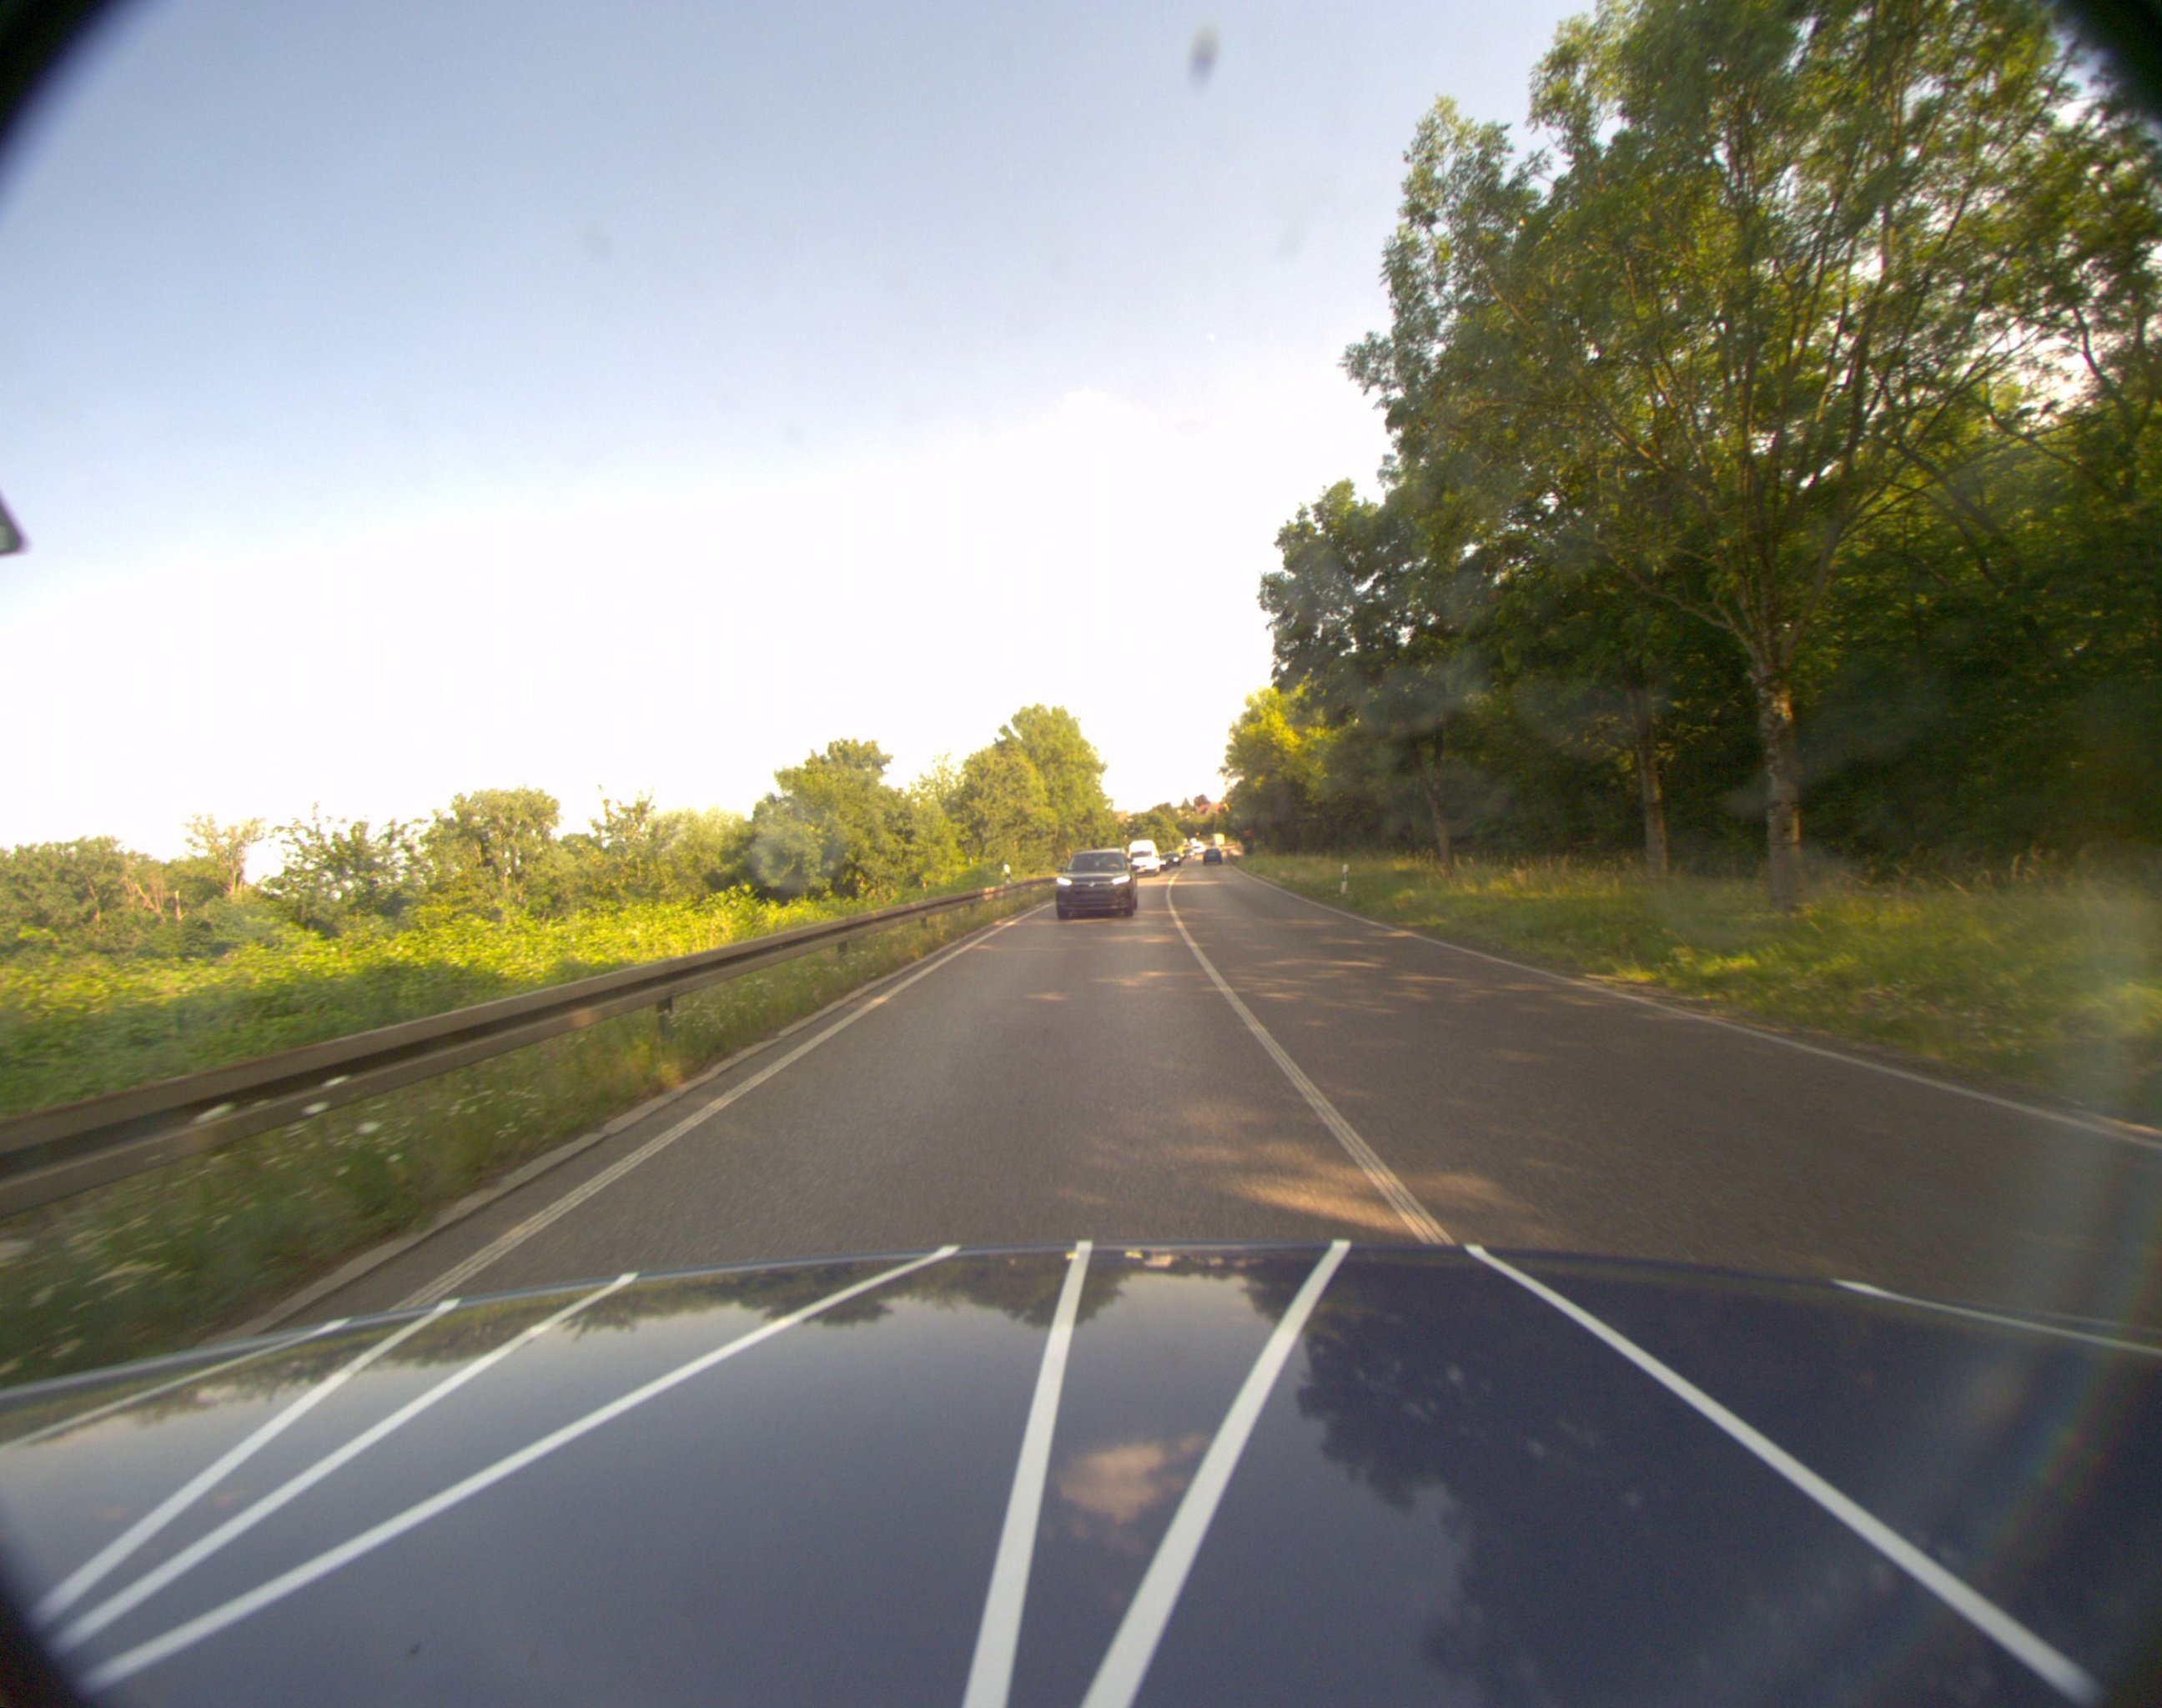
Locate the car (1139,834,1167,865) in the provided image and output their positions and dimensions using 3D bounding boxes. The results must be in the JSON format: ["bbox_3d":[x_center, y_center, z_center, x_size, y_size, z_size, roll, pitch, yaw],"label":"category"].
[{"bbox_3d":[5.927,-0.384,62.941,2.088,2.403,5.143,-2,1,4],"label":"car"}]

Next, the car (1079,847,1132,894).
[{"bbox_3d":[1.026,0.624,31.113,1.922,1.718,4.702,-2,0,3],"label":"car"}]

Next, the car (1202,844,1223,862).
[{"bbox_3d":[12.999,-0.148,75.199,1.900,1.622,4.253,-2,1,9],"label":"car"}]

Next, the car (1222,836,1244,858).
[{"bbox_3d":[17.299,-0.824,86.583,2.087,2.403,5.145,-2,1,8],"label":"car"}]

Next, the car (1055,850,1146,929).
[{"bbox_3d":[0.529,0.753,18.853,1.922,1.612,4.701,-2,1,3],"label":"car"}]

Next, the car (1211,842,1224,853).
[{"bbox_3d":[23.031,-1.093,128.143,1.893,1.622,4.254,-2,1,12],"label":"car"}]

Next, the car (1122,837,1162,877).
[{"bbox_3d":[4.043,0.153,49.509,2.087,2.403,5.145,-2,1,9],"label":"car"}]

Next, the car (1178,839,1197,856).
[{"bbox_3d":[15.506,-0.980,110.780,2.086,2.403,5.147,-2,1,15],"label":"car"}]

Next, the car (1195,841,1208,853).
[{"bbox_3d":[24.563,-1.459,154.667,2.086,2.403,5.147,-2,1,15],"label":"car"}]

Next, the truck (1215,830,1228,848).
[{"bbox_3d":[41.468,-4.340,224.249,3.629,5.140,10.468,-2,0,11],"label":"truck"}]

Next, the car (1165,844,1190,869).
[{"bbox_3d":[9.776,0.233,77.018,2.088,2.403,5.143,-2,1,4],"label":"car"}]
